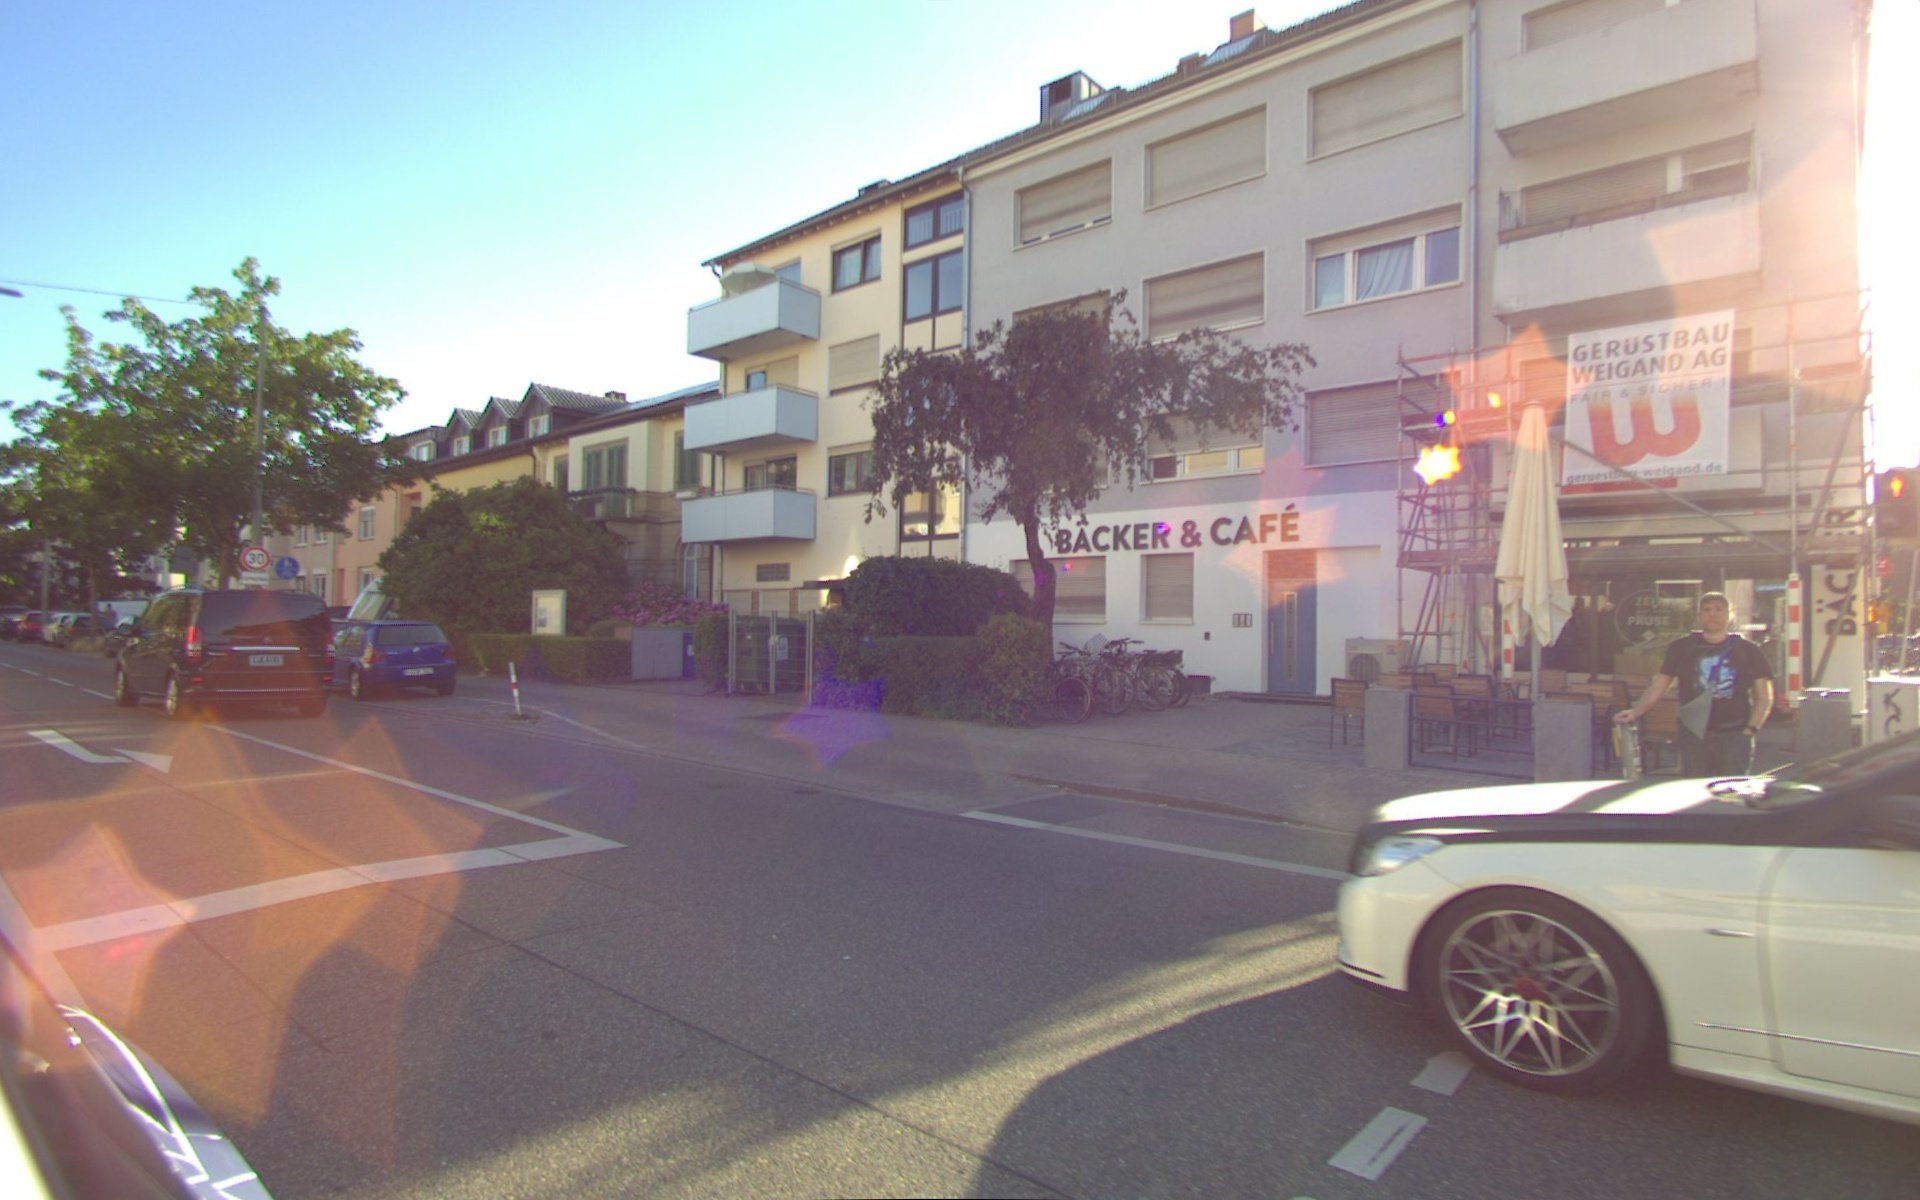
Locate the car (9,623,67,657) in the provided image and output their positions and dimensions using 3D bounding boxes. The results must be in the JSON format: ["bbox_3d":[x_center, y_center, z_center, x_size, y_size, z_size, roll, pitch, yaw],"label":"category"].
[{"bbox_3d":[-44.498,1.915,48.832,3.658,1.575,1.621,-1,-2,41],"label":"car"}]

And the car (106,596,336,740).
[{"bbox_3d":[-11.348,0.944,15.432,4.406,1.891,1.818,-1,-2,40],"label":"car"}]

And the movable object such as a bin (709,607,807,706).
[{"bbox_3d":[-3.685,0.988,18.482,1.180,1.670,1.293,0,2,40],"label":"movable object such as a bin"}]

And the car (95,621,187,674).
[{"bbox_3d":[-27.318,1.544,33.712,4.195,1.626,1.711,-1,-2,42],"label":"car"}]

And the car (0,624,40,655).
[{"bbox_3d":[-49.107,2.034,52.459,3.658,1.575,1.670,-1,-2,41],"label":"car"}]

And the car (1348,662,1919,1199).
[{"bbox_3d":[3.606,0.905,2.753,4.437,1.330,1.822,-1,-3,40],"label":"car"}]

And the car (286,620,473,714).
[{"bbox_3d":[-11.262,1.221,19.552,3.946,1.626,1.788,-1,-2,38],"label":"car"}]

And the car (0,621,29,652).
[{"bbox_3d":[-54.640,2.069,57.880,3.658,1.679,1.670,-1,-2,41],"label":"car"}]

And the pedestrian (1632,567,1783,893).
[{"bbox_3d":[5.022,0.823,6.803,0.739,2.029,0.631,-1,-2,42],"label":"pedestrian"}]

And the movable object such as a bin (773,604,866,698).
[{"bbox_3d":[-2.693,0.943,19.430,1.180,1.670,1.293,0,2,40],"label":"movable object such as a bin"}]

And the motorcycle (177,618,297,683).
[{"bbox_3d":[-18.207,1.247,25.468,2.876,1.547,1.251,0,-2,27],"label":"motorcycle"}]

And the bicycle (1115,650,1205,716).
[{"bbox_3d":[3.332,1.374,16.932,1.477,1.022,0.433,-1,-2,44],"label":"bicycle"}]

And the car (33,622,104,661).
[{"bbox_3d":[-39.946,1.823,45.315,4.408,1.626,1.818,-1,-2,41],"label":"car"}]

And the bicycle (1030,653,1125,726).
[{"bbox_3d":[1.780,1.348,15.502,1.477,1.022,0.433,-1,-2,44],"label":"bicycle"}]

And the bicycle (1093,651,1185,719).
[{"bbox_3d":[2.905,1.357,16.494,1.477,1.022,0.433,-1,-2,44],"label":"bicycle"}]

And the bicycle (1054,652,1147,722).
[{"bbox_3d":[2.201,1.342,15.929,1.477,1.022,0.433,-1,-2,44],"label":"bicycle"}]
